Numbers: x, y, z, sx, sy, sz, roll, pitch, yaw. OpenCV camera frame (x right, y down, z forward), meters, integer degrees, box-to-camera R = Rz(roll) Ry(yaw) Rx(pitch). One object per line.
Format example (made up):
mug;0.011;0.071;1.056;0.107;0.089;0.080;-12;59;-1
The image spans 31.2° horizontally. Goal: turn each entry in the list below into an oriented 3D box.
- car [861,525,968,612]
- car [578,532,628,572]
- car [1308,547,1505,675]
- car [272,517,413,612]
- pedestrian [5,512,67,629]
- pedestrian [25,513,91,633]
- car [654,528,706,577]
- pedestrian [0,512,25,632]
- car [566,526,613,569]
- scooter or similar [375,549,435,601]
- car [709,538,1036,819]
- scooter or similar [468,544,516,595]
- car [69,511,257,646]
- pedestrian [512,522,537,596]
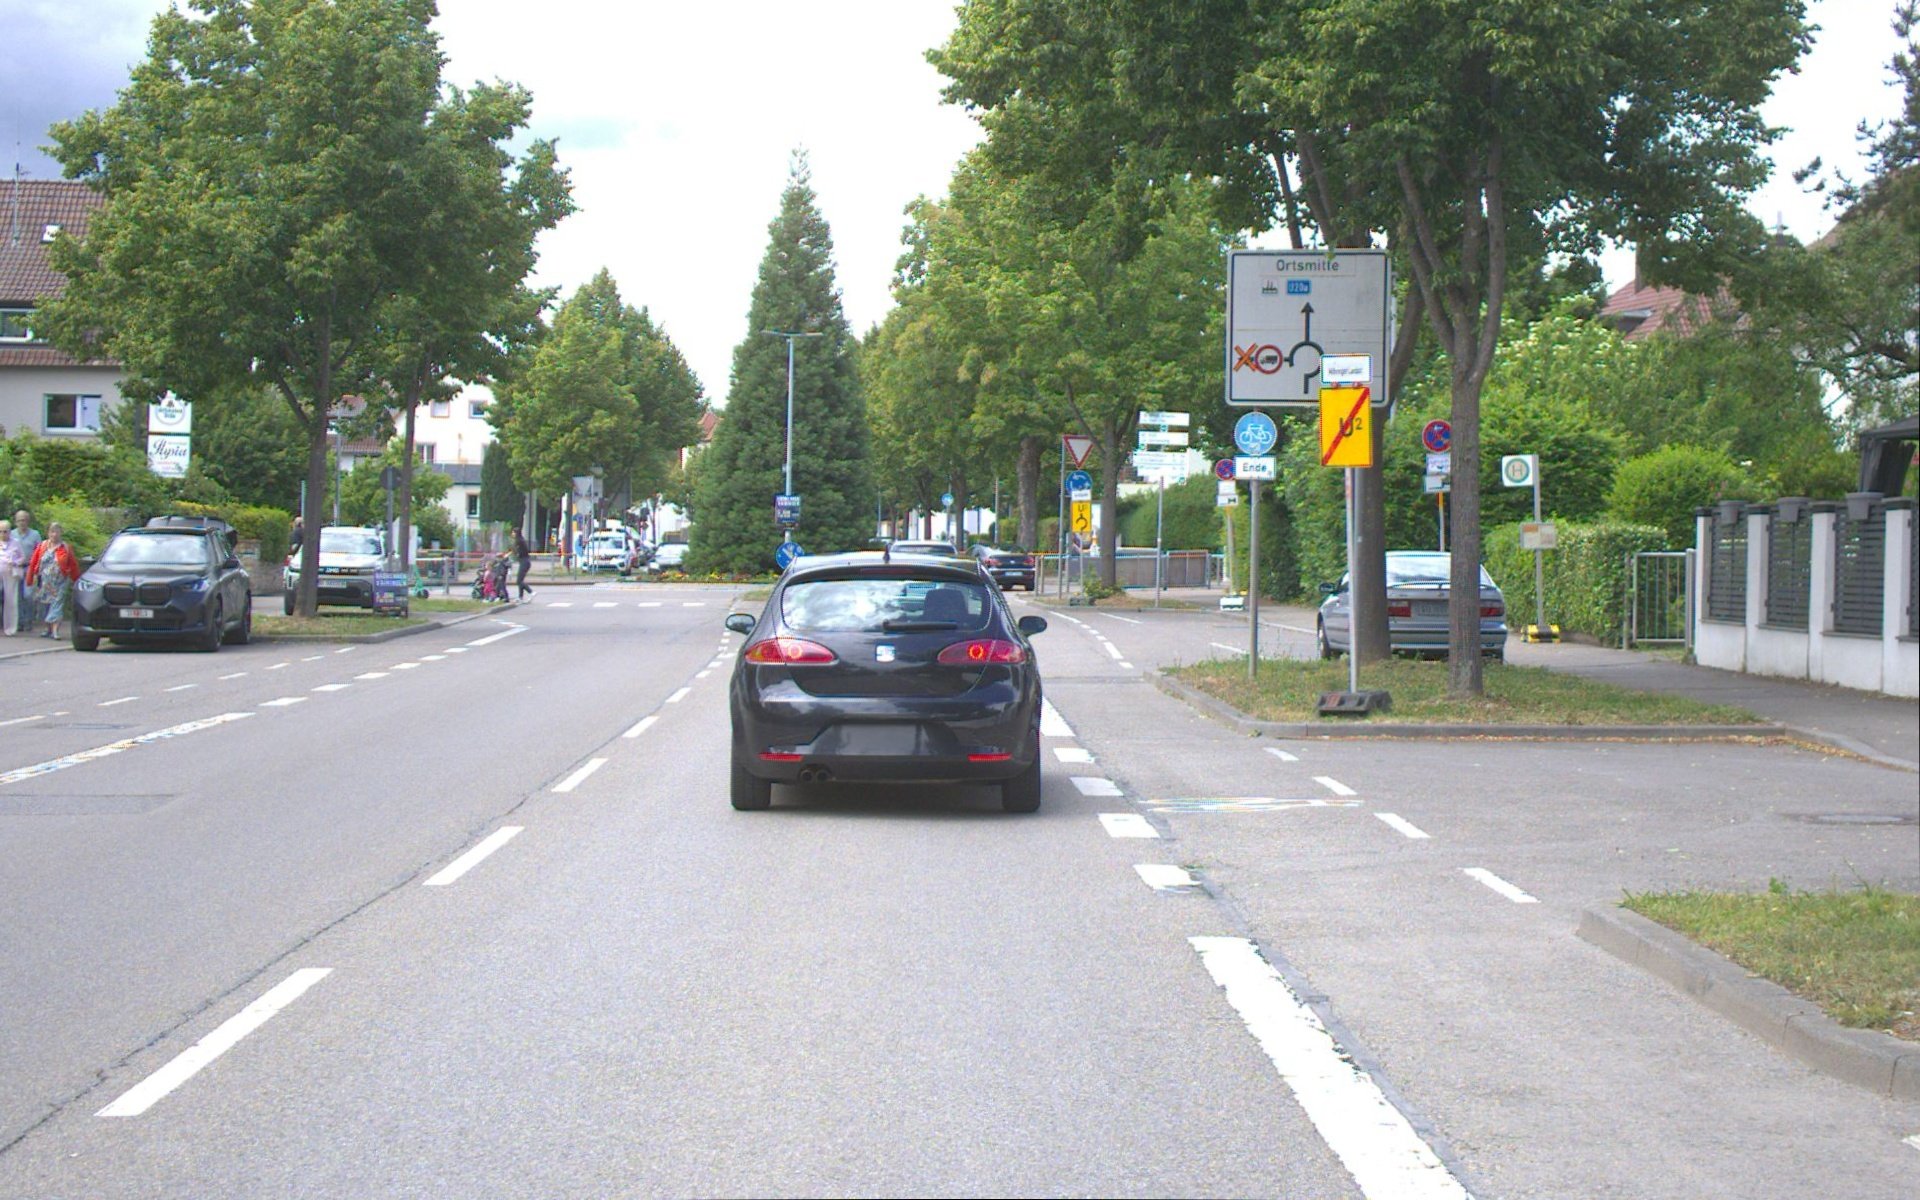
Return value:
car;-0.867;-0.632;67.062;1.993;1.607;4.000;1;1;0
car;-14.625;-1.974;140.944;1.797;1.596;4.001;0;1;-2
car;5.063;0.134;39.480;1.611;1.372;4.387;1;0;-1
car;-11.365;-0.667;63.563;1.860;1.648;4.294;1;1;-1
pedestrian;-13.185;-0.426;49.061;0.786;1.658;0.592;0;1;-8
pedestrian;-12.604;-0.383;48.048;0.786;1.658;0.754;1;1;-8
car;-9.567;-1.635;117.584;1.568;1.628;3.622;0;1;-2
pedestrian;-13.429;-0.394;47.654;0.786;1.658;0.882;0;1;-8
car;-17.115;-2.434;159.057;2.029;1.964;4.001;0;1;-4
scooter or similar;-12.271;-0.547;76.016;1.284;1.135;0.347;0;1;-33
car;-0.425;0.385;20.305;1.732;1.481;4.000;0;1;1
scooter or similar;-10.632;-0.691;78.150;0.967;1.092;0.407;3;0;6
car;-10.818;-0.320;46.956;1.724;1.719;4.565;1;1;-3
pedestrian;-9.906;-0.929;78.188;0.514;1.664;0.483;0;1;-14
